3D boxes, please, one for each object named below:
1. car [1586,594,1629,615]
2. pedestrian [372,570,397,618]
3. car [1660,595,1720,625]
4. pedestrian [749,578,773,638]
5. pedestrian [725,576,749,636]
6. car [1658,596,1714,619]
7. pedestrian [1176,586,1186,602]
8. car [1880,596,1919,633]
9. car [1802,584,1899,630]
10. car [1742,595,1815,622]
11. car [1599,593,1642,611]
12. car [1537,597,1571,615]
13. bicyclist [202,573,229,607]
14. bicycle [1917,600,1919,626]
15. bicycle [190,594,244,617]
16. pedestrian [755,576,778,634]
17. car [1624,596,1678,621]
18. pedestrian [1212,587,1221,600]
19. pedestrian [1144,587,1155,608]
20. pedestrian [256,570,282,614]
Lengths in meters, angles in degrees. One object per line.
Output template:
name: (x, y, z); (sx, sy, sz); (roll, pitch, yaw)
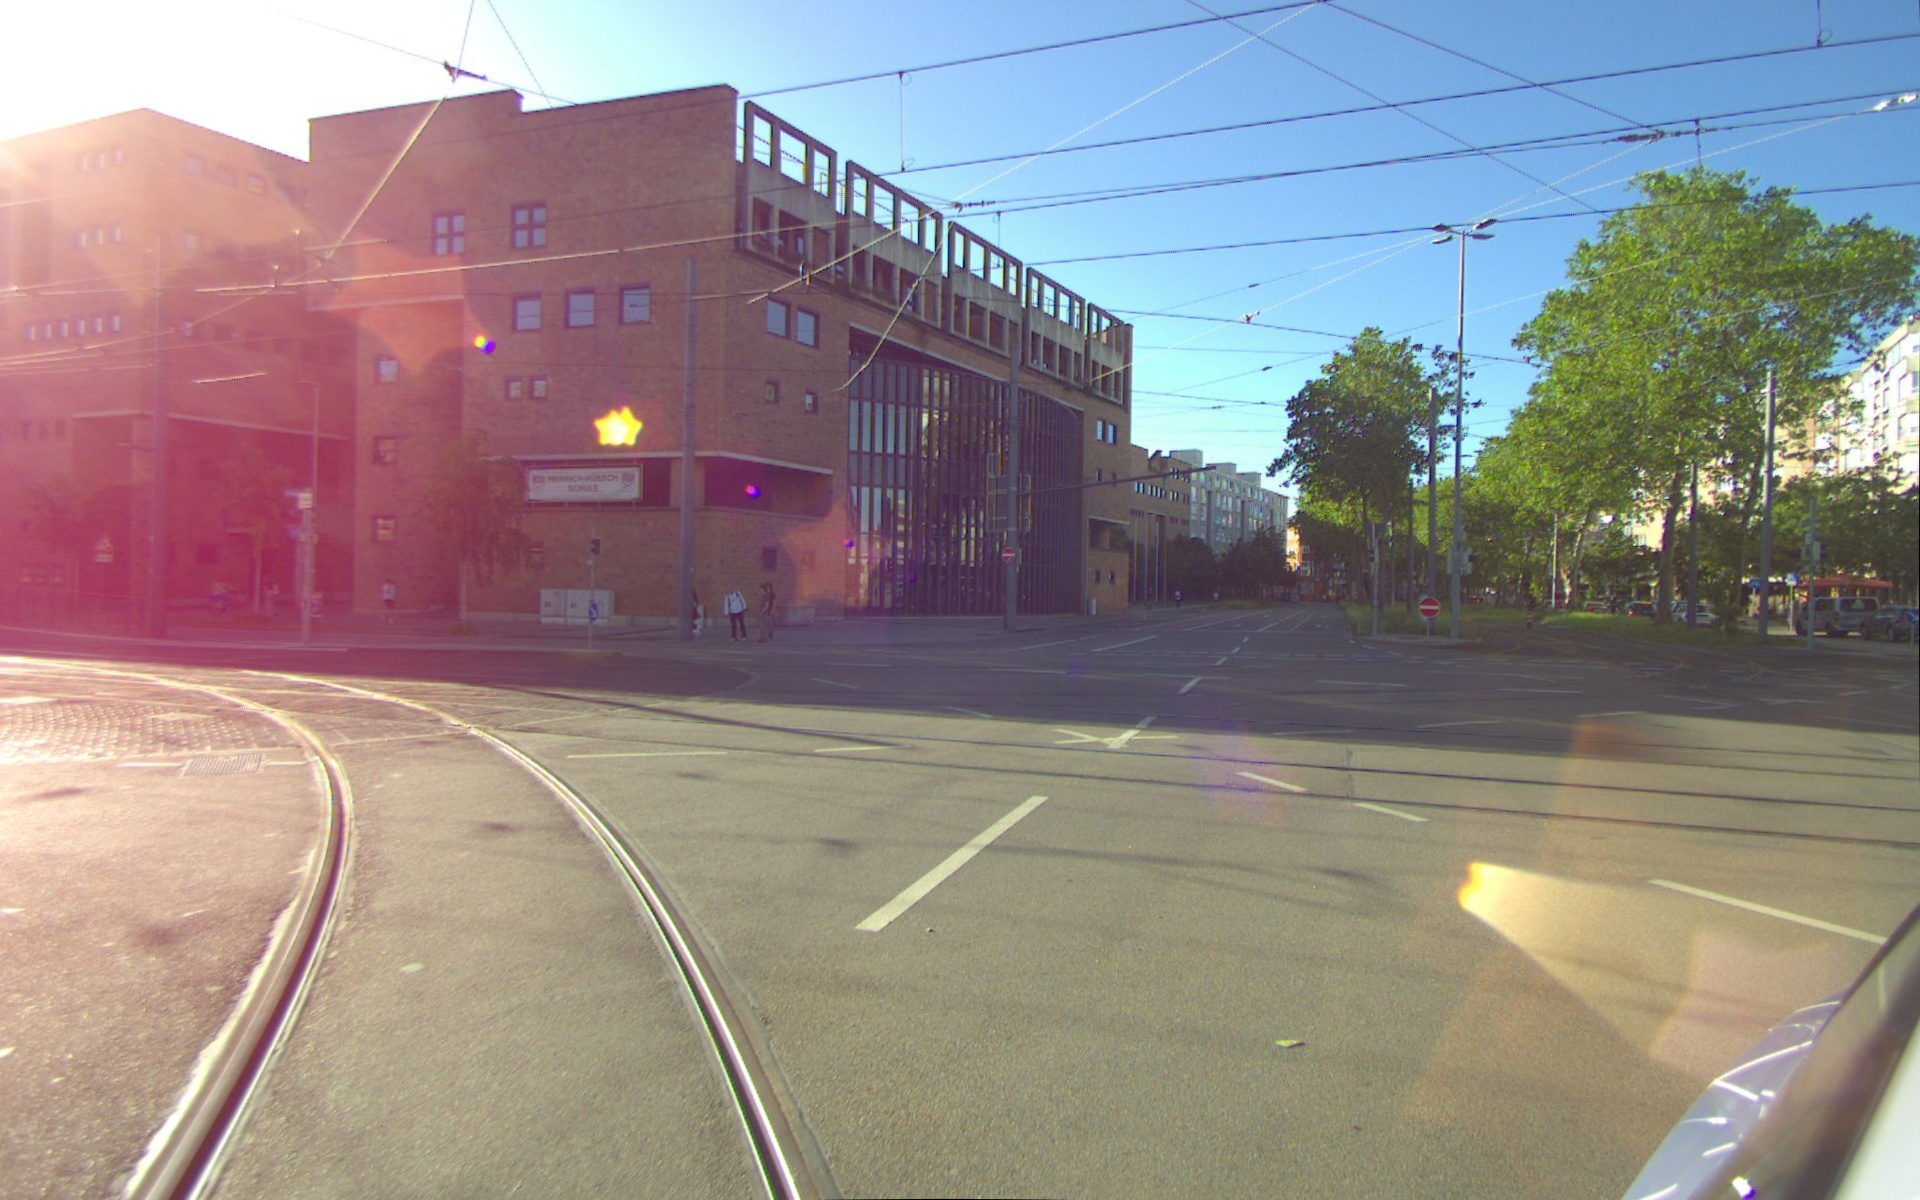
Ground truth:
car: (46.911, 0.312, 73.382); (1.678, 1.458, 3.994); (0, 0, 18)
pedestrian: (-22.264, -0.219, 39.137); (0.567, 1.808, 0.545); (3, 1, 23)
car: (37.589, 0.473, 52.167); (1.647, 1.406, 3.510); (2, 1, 22)
pedestrian: (-6.042, 0.233, 30.763); (0.541, 1.808, 0.571); (0, 1, 12)
pedestrian: (-6.835, 0.180, 30.989); (0.541, 1.808, 0.571); (0, 1, 12)
car: (50.210, 0.506, 70.098); (1.840, 1.493, 3.959); (1, 0, 15)
pedestrian: (19.609, -0.556, 89.735); (0.803, 1.401, 0.682); (1, 0, 23)
car: (40.151, 0.575, 42.243); (1.853, 1.493, 3.932); (1, 0, 32)
car: (41.736, 0.296, 47.560); (1.844, 2.041, 4.429); (1, 0, 20)
car: (47.815, 0.453, 59.205); (1.840, 1.493, 3.959); (1, 0, 15)
car: (56.100, 0.129, 86.056); (1.840, 1.493, 3.959); (1, 0, 15)
car: (51.479, 0.477, 87.825); (1.678, 1.493, 3.959); (1, 0, 17)
bicyclist: (-30.176, -0.403, 40.999); (0.645, 1.356, 0.643); (0, 0, 21)
bicycle: (45.628, 0.632, 46.446); (2.359, 1.229, 0.772); (2, 0, 14)
bicycle: (-30.060, 0.211, 40.943); (2.318, 0.916, 0.646); (0, 0, 22)
pedestrian: (-6.094, 0.160, 31.928); (0.541, 1.808, 0.571); (0, 1, 12)
car: (43.212, 0.501, 63.396); (1.844, 1.493, 3.951); (1, 0, 20)
pedestrian: (27.512, -0.687, 108.417); (0.803, 1.401, 0.682); (1, 0, 23)
pedestrian: (14.658, -0.204, 78.422); (0.799, 1.626, 0.686); (1, 0, 8)
pedestrian: (-28.697, -0.332, 42.039); (0.681, 1.808, 0.637); (0, 1, 23)
